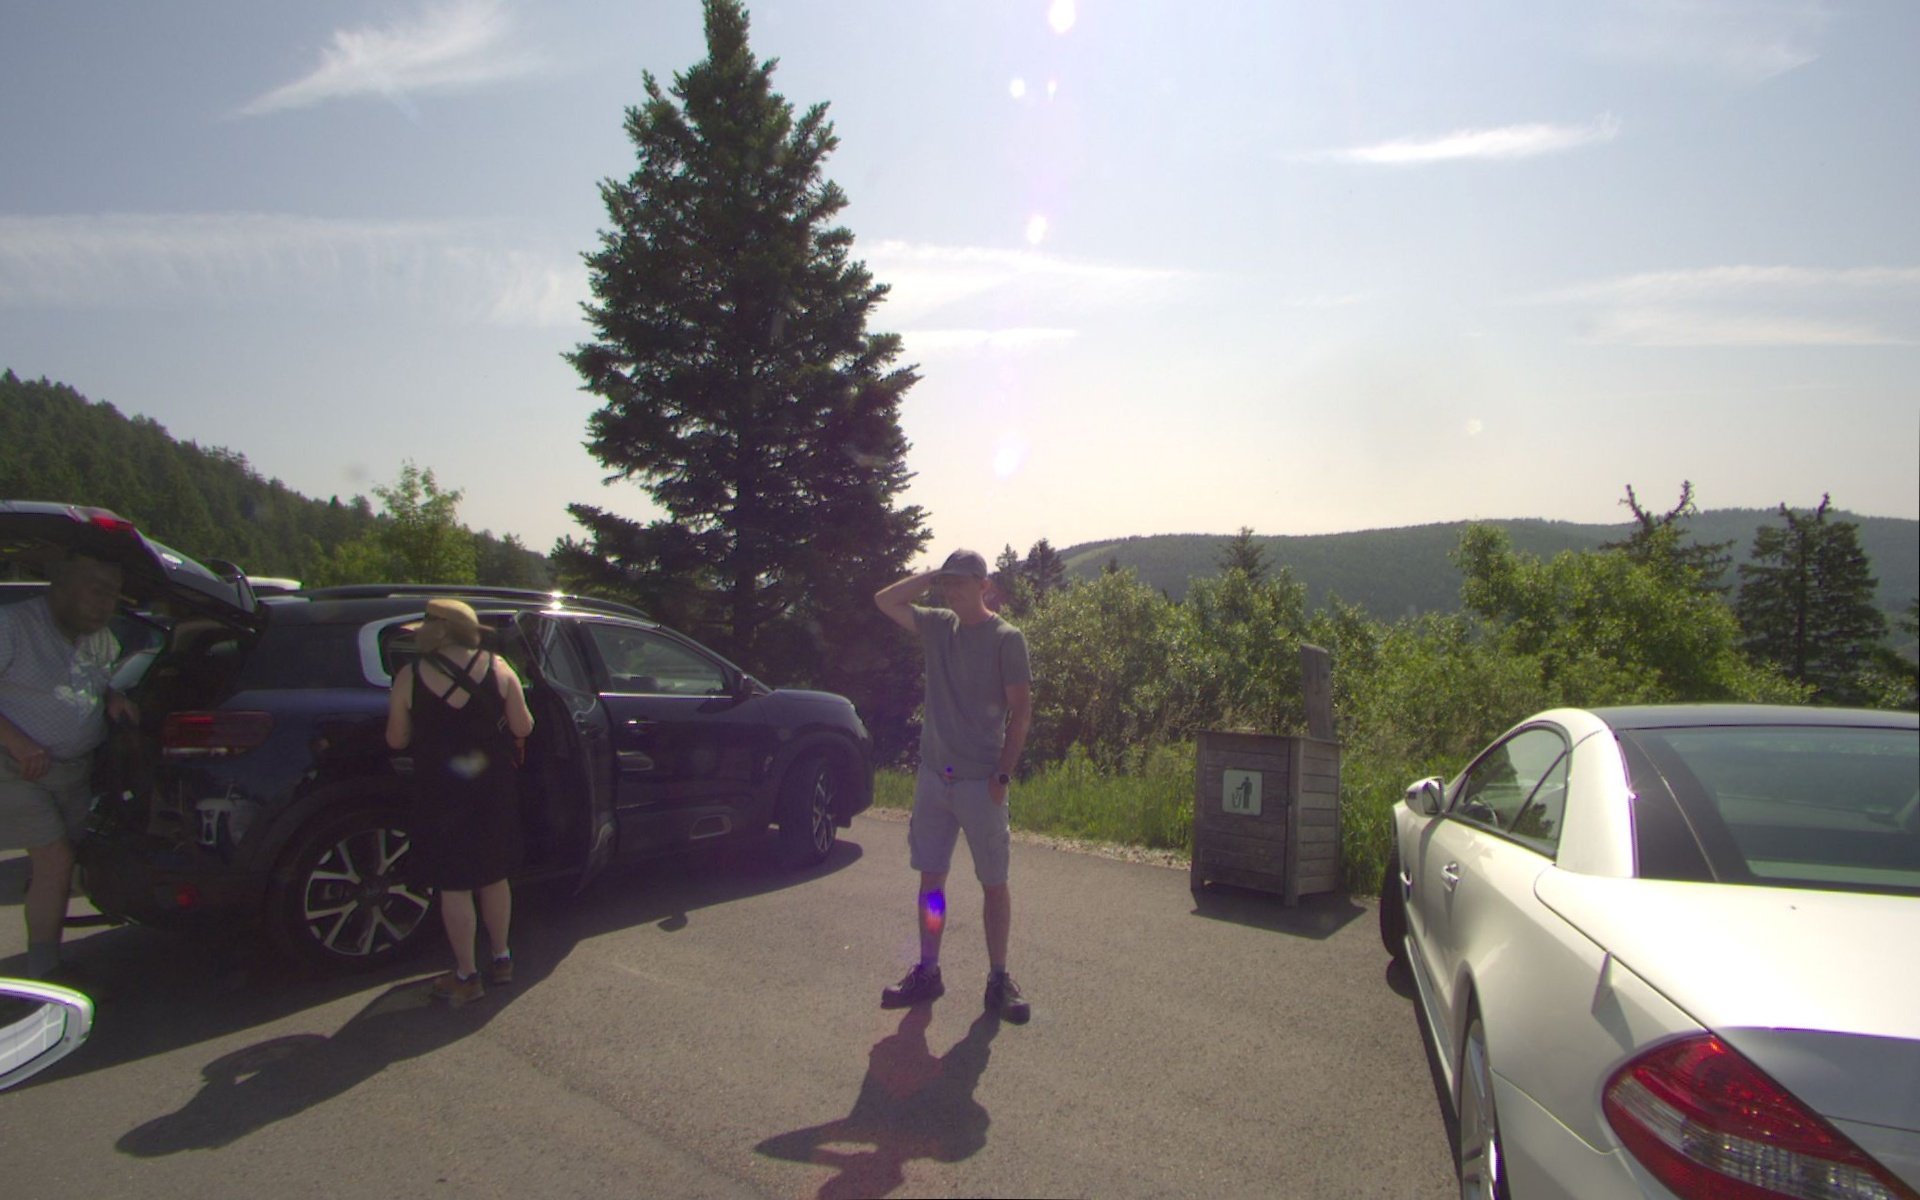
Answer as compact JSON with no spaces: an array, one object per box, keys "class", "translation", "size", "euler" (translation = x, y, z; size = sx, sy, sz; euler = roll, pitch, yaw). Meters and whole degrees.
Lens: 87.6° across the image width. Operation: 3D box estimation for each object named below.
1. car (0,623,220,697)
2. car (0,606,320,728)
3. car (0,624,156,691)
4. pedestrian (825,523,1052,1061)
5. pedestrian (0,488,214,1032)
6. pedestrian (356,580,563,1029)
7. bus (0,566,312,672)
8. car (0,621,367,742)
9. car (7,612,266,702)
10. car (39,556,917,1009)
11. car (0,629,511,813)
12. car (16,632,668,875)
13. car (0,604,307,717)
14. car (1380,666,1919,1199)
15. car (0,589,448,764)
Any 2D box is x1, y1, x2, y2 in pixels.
[{"class":"car","translation":[-19.412,1.299,22.747],"size":[1.603,1.417,3.963],"euler":[-1,0,43]},{"class":"car","translation":[-12.610,0.946,15.516],"size":[1.819,1.574,4.218],"euler":[-1,0,43]},{"class":"car","translation":[-22.346,1.386,24.473],"size":[1.841,1.468,3.963],"euler":[-1,0,43]},{"class":"pedestrian","translation":[-0.047,0.667,3.821],"size":[0.734,1.823,0.736],"euler":[-1,-1,8]},{"class":"pedestrian","translation":[-3.462,0.559,3.834],"size":[0.724,1.896,0.756],"euler":[1,1,-16]},{"class":"pedestrian","translation":[-2.024,0.757,4.065],"size":[0.706,1.633,0.534],"euler":[0,-1,-29]},{"class":"bus","translation":[-31.618,0.633,36.692],"size":[12.971,3.579,3.022],"euler":[-2,0,-37]},{"class":"car","translation":[-10.751,1.011,13.668],"size":[1.819,1.286,4.218],"euler":[-1,0,43]},{"class":"car","translation":[-16.956,1.097,20.760],"size":[1.642,1.574,3.963],"euler":[-1,0,43]},{"class":"car","translation":[-2.352,0.797,5.949],"size":[1.847,1.646,4.330],"euler":[-2,-4,38]},{"class":"car","translation":[-6.750,0.997,9.729],"size":[1.681,1.394,4.068],"euler":[-1,-2,37]},{"class":"car","translation":[-4.496,0.961,7.927],"size":[1.679,1.394,4.072],"euler":[-1,-2,34]},{"class":"car","translation":[-14.651,0.982,17.579],"size":[2.026,1.673,5.004],"euler":[-1,0,43]},{"class":"car","translation":[2.321,0.921,3.065],"size":[1.725,1.312,4.405],"euler":[0,-2,21]},{"class":"car","translation":[-8.966,0.761,11.746],"size":[4.916,1.718,1.926],"euler":[-1,0,-45]}]
